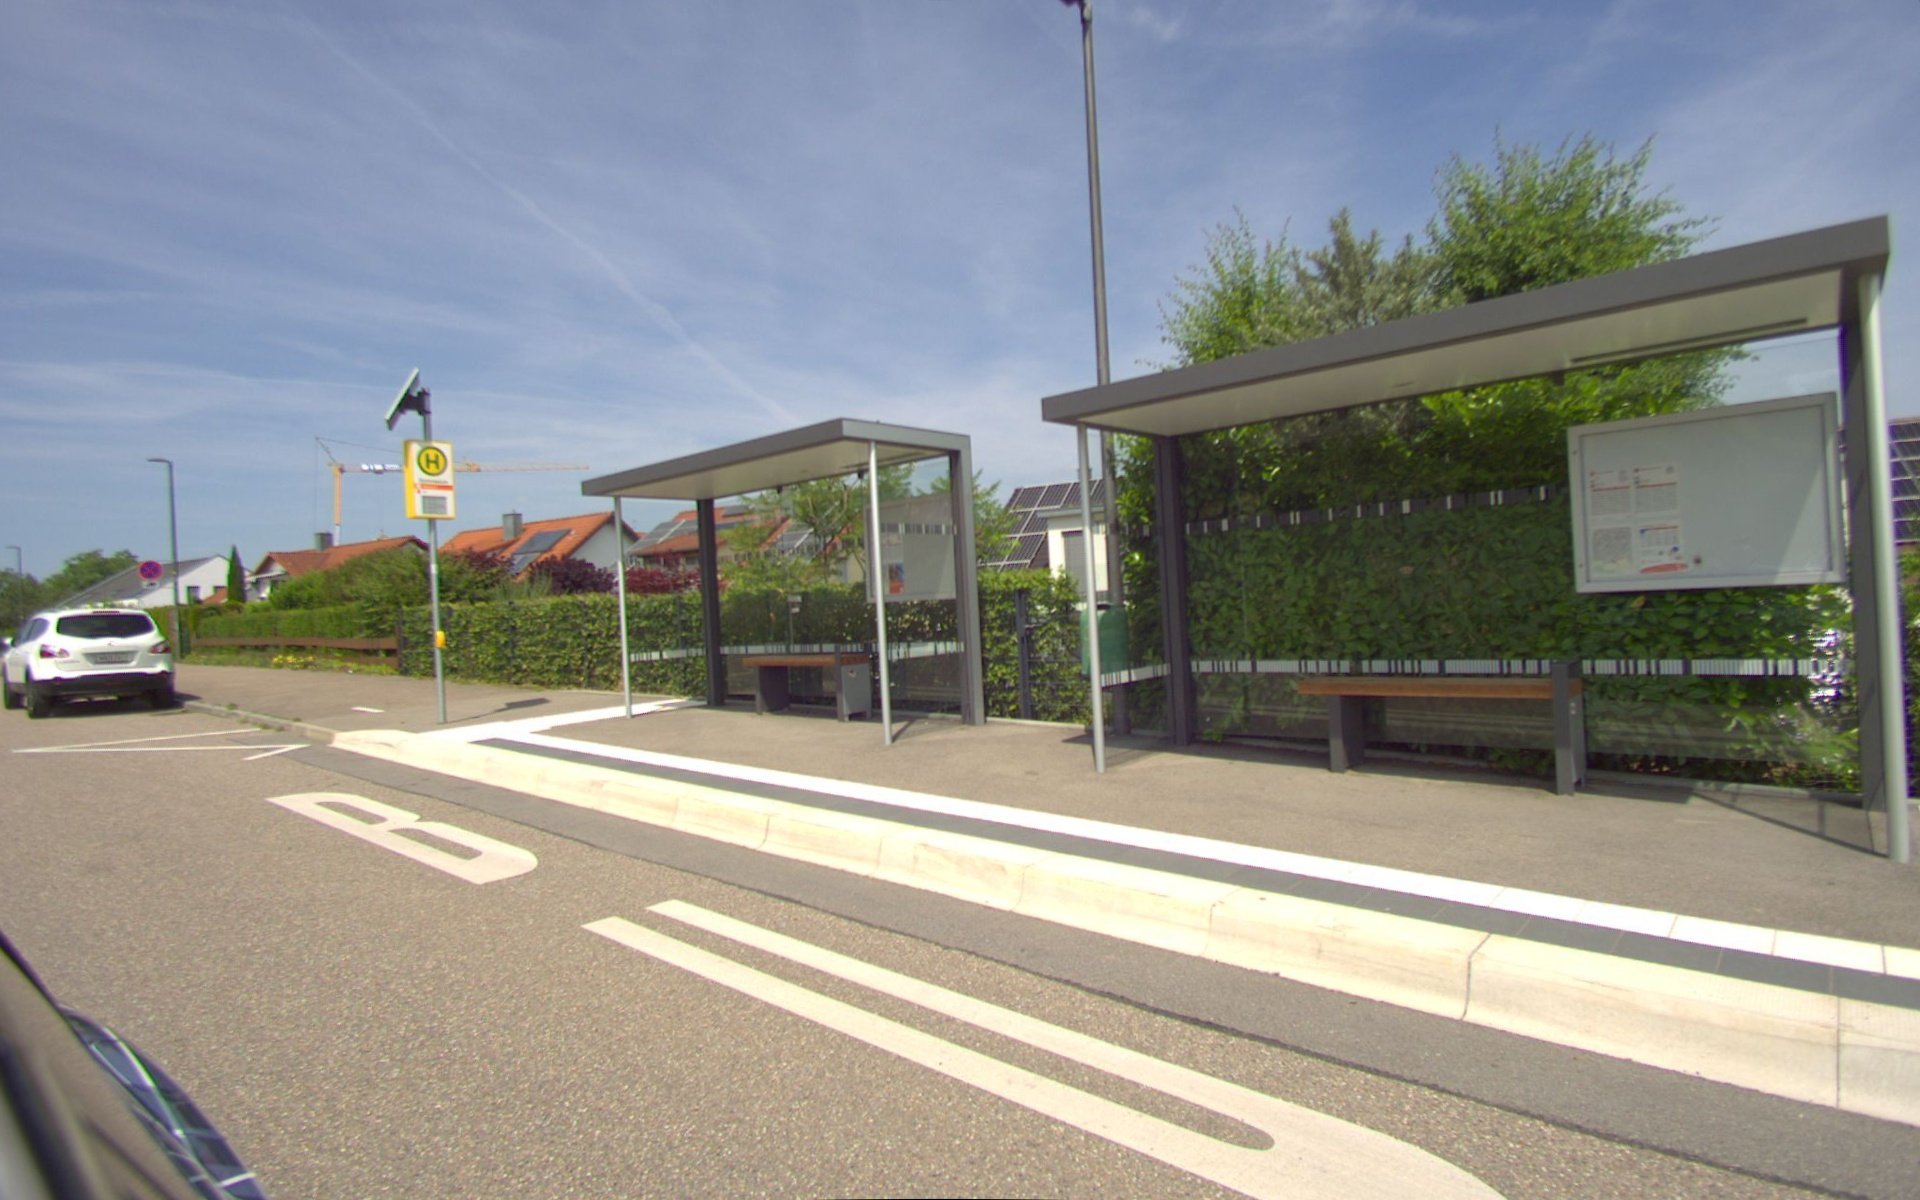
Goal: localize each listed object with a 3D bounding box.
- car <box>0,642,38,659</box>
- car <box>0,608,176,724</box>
[{"bbox_3d":[-80.953,4.340,85.921,3.832,1.331,1.802,-3,-1,-44],"label":"car"},{"bbox_3d":[-14.534,1.012,16.682,4.350,1.645,1.716,-2,-1,41],"label":"car"}]
